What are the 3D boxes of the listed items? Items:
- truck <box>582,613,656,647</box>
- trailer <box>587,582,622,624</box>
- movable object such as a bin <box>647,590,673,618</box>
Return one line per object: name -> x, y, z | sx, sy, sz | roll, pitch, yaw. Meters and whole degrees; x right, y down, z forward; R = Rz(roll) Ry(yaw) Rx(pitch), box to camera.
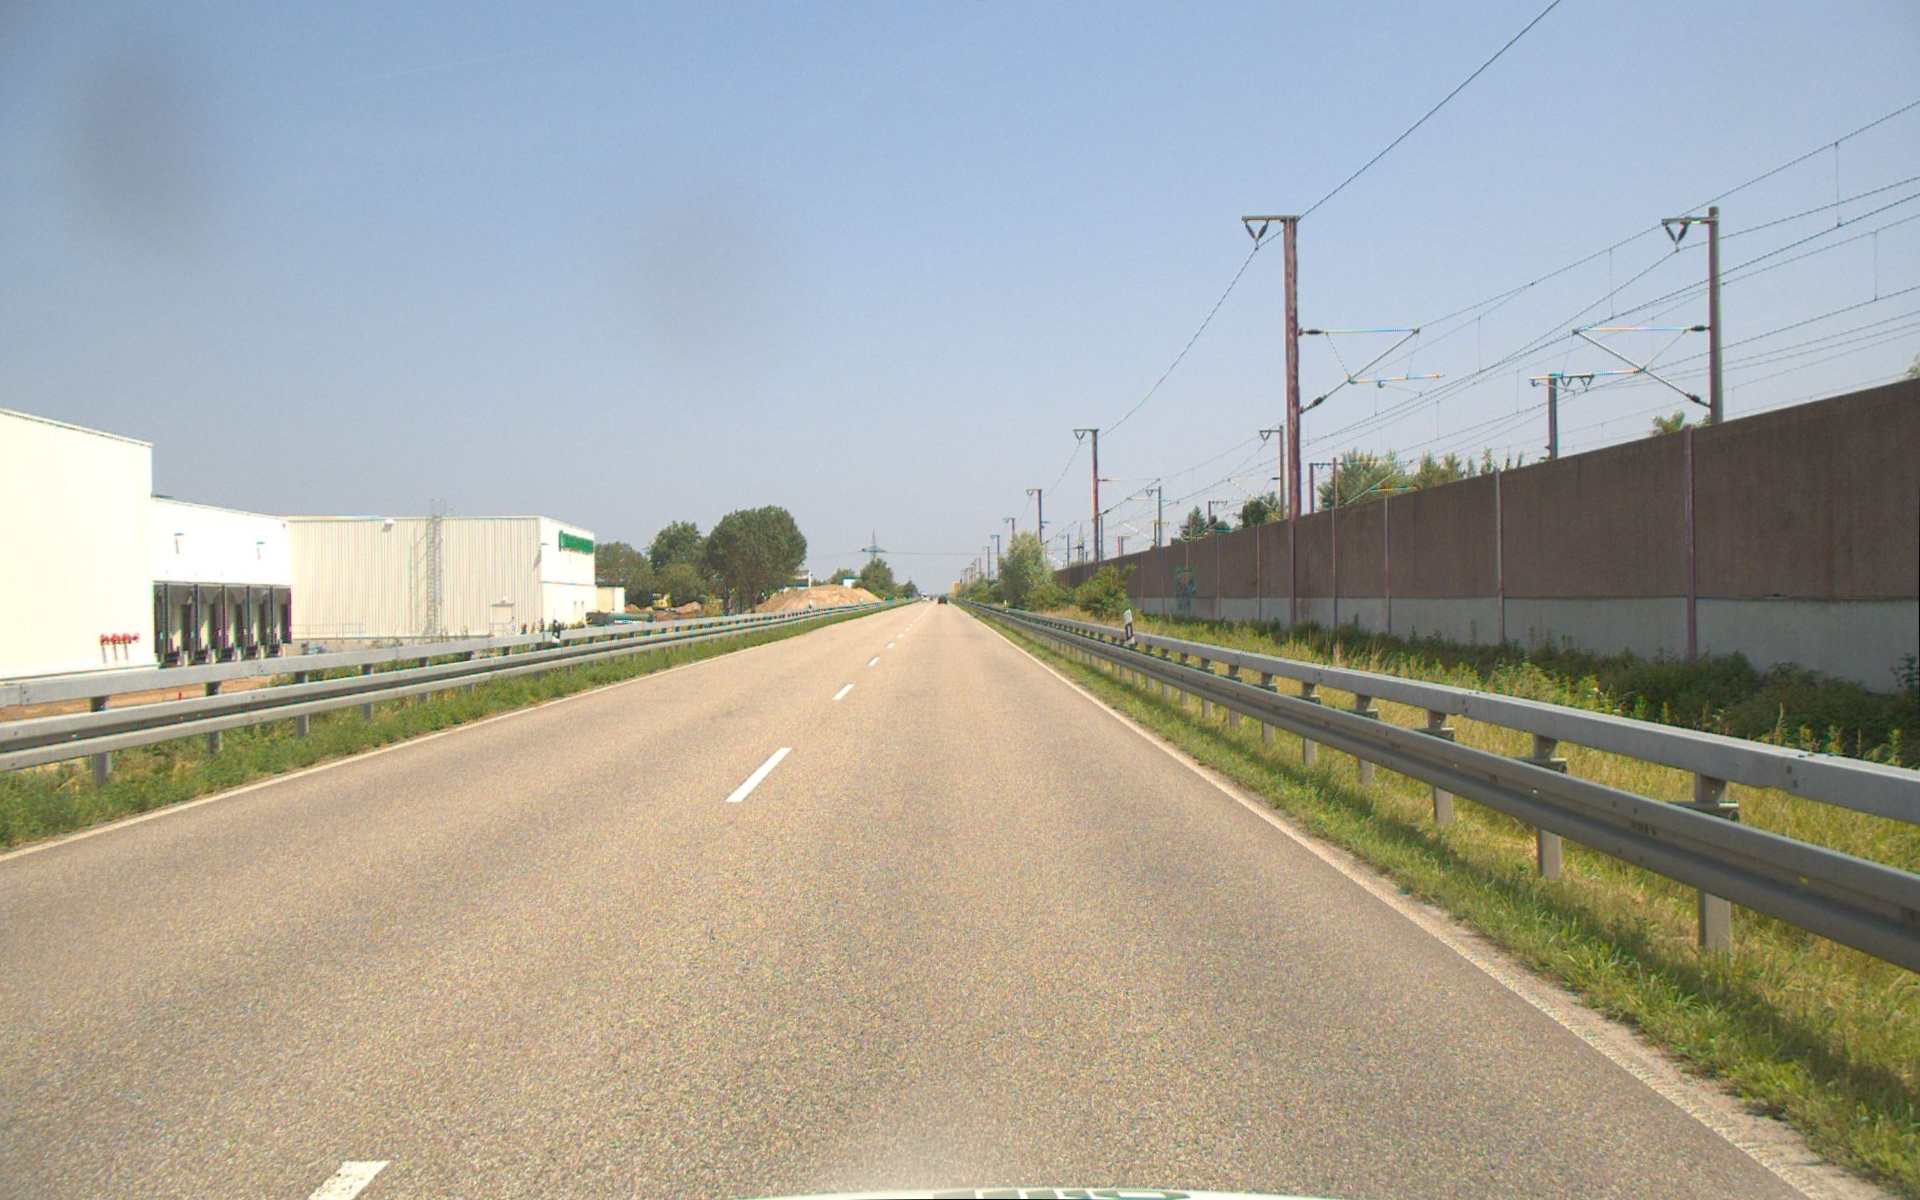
truck -> -24.698, 2.166, 120.039 | 4.907, 2.374, 2.232 | 0, 0, -1
trailer -> -37.895, 0.290, 176.514 | 2.626, 4.408, 7.945 | 0, 1, -5
movable object such as a bin -> -41.552, 0.588, 229.076 | 2.582, 3.716, 5.430 | -3, 0, -19
